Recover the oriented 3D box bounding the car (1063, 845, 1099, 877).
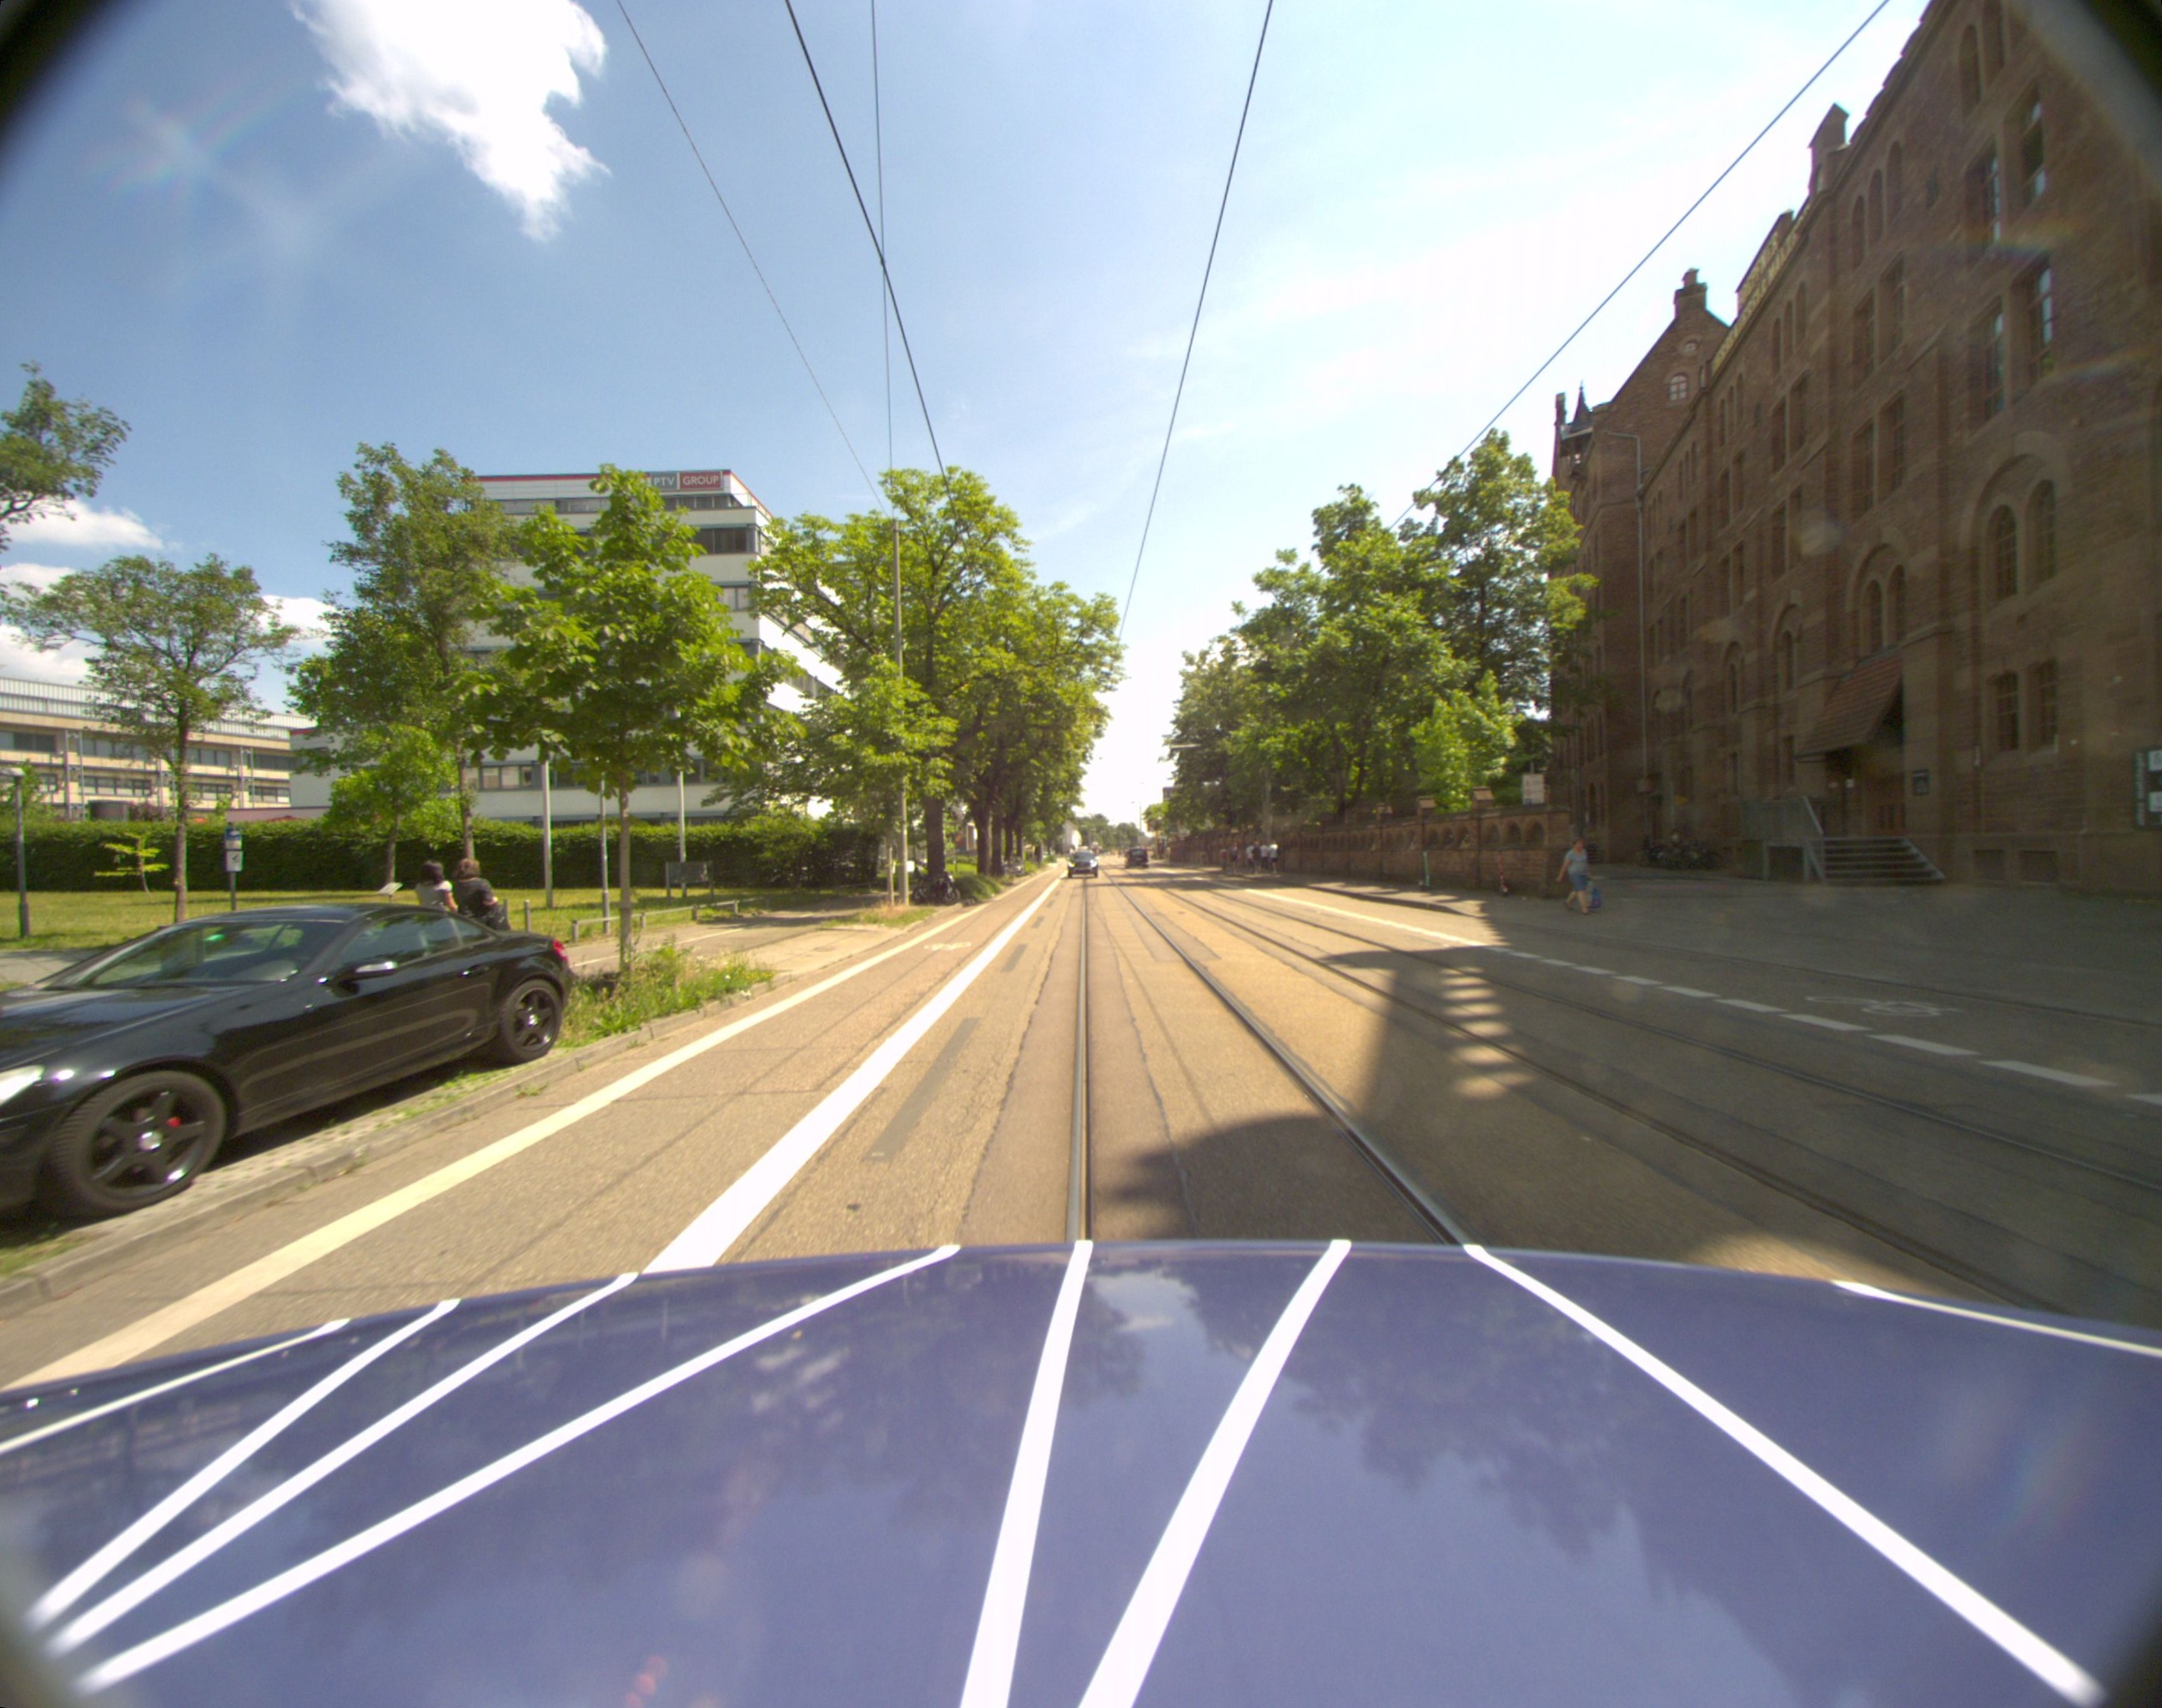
[{"bbox_3d":[0.037,0.397,46.176,1.998,1.732,4.226,-3,1,0],"label":"car"}]

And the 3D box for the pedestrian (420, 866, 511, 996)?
[{"bbox_3d":[-7.745,0.947,9.578,0.620,1.564,0.610,0,1,1],"label":"pedestrian"}]

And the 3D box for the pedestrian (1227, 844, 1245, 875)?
[{"bbox_3d":[9.015,0.309,44.269,0.723,1.781,0.919,-4,1,0],"label":"pedestrian"}]

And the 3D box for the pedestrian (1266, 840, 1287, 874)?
[{"bbox_3d":[10.531,0.144,40.996,0.754,1.766,0.919,-4,1,0],"label":"pedestrian"}]

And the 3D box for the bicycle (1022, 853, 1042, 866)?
[{"bbox_3d":[-4.590,0.484,71.890,1.813,1.105,0.569,-3,1,-3],"label":"bicycle"}]

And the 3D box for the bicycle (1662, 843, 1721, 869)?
[{"bbox_3d":[24.294,0.090,30.252,1.779,0.988,0.493,-2,1,35],"label":"bicycle"}]

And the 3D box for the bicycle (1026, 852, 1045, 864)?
[{"bbox_3d":[-4.606,0.422,76.853,1.819,1.158,0.710,-2,1,-7],"label":"bicycle"}]

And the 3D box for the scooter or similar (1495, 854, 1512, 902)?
[{"bbox_3d":[10.686,0.594,19.207,0.328,1.120,1.225,-2,1,29],"label":"scooter or similar"}]

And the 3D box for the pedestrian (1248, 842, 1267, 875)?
[{"bbox_3d":[9.555,0.246,41.214,0.679,1.738,0.919,-4,1,0],"label":"pedestrian"}]

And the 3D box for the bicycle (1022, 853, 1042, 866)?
[{"bbox_3d":[-4.519,0.500,70.026,1.846,1.105,0.569,-3,1,-3],"label":"bicycle"}]

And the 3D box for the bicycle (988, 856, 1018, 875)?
[{"bbox_3d":[-4.765,0.709,46.408,1.814,1.105,0.489,-1,1,-13],"label":"bicycle"}]

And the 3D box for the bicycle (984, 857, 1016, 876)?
[{"bbox_3d":[-4.800,0.722,45.135,1.813,1.105,0.395,-1,1,-3],"label":"bicycle"}]

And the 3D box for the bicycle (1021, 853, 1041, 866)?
[{"bbox_3d":[-4.666,0.501,70.688,1.813,1.105,0.569,-3,1,-3],"label":"bicycle"}]

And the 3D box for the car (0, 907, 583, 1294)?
[{"bbox_3d":[-5.178,1.145,4.560,1.756,1.263,3.833,-3,1,1],"label":"car"}]

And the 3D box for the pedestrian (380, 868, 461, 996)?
[{"bbox_3d":[-8.355,0.963,9.629,0.514,1.564,0.544,0,1,1],"label":"pedestrian"}]

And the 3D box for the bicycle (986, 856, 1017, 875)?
[{"bbox_3d":[-4.769,0.712,45.535,1.812,1.105,0.395,-1,1,-3],"label":"bicycle"}]

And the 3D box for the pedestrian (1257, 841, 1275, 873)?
[{"bbox_3d":[10.592,0.140,43.429,0.679,1.766,0.919,-4,1,0],"label":"pedestrian"}]

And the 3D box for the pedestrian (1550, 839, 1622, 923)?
[{"bbox_3d":[10.311,0.524,15.546,0.801,1.580,0.919,-4,4,0],"label":"pedestrian"}]

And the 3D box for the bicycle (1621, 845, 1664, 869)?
[{"bbox_3d":[24.973,0.130,33.797,1.784,0.988,0.492,-3,1,-13],"label":"bicycle"}]

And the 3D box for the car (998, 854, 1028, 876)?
[{"bbox_3d":[-4.763,0.735,53.781,1.681,1.458,4.633,-1,1,0],"label":"car"}]

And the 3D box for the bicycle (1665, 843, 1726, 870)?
[{"bbox_3d":[23.994,0.110,29.696,1.779,0.988,0.493,-2,1,35],"label":"bicycle"}]

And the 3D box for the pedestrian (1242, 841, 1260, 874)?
[{"bbox_3d":[9.689,0.200,43.348,0.679,1.780,0.919,-4,1,0],"label":"pedestrian"}]

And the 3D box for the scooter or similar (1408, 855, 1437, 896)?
[{"bbox_3d":[10.188,0.619,22.670,0.348,1.120,1.227,-2,3,44],"label":"scooter or similar"}]

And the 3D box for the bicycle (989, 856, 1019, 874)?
[{"bbox_3d":[-4.830,0.706,47.685,1.813,1.105,0.535,-1,1,-8],"label":"bicycle"}]

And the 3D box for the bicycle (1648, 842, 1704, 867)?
[{"bbox_3d":[24.829,0.034,31.747,1.779,0.988,0.493,-2,1,33],"label":"bicycle"}]

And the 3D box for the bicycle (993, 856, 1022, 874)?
[{"bbox_3d":[-4.694,0.687,48.336,1.813,1.105,0.514,-1,1,-3],"label":"bicycle"}]

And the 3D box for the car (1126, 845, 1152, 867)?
[{"bbox_3d":[4.951,0.167,65.558,1.909,1.778,4.255,-1,1,0],"label":"car"}]

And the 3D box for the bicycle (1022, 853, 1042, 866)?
[{"bbox_3d":[-4.574,0.482,71.320,1.813,1.105,0.569,-3,1,-3],"label":"bicycle"}]

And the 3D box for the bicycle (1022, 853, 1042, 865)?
[{"bbox_3d":[-4.732,0.481,73.210,1.813,1.105,0.569,-3,1,-3],"label":"bicycle"}]

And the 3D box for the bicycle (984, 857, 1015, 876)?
[{"bbox_3d":[-4.790,0.726,44.704,1.813,1.105,0.449,-1,1,-3],"label":"bicycle"}]

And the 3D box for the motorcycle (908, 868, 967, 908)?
[{"bbox_3d":[-4.579,1.059,24.166,2.056,1.206,0.614,0,3,40],"label":"motorcycle"}]

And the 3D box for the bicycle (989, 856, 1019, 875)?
[{"bbox_3d":[-4.763,0.713,47.065,1.813,1.105,0.533,-1,1,-8],"label":"bicycle"}]

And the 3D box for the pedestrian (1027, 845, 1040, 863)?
[{"bbox_3d":[-4.841,0.013,77.166,0.986,1.822,0.786,-3,1,-43],"label":"pedestrian"}]

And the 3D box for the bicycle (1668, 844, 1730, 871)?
[{"bbox_3d":[23.691,0.144,29.159,1.779,0.988,0.493,-2,1,35],"label":"bicycle"}]

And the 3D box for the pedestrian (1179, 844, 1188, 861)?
[{"bbox_3d":[10.961,-0.172,81.015,0.750,1.738,0.919,-4,1,0],"label":"pedestrian"}]

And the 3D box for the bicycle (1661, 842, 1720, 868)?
[{"bbox_3d":[24.646,0.053,30.756,1.779,0.988,0.493,-2,1,35],"label":"bicycle"}]
